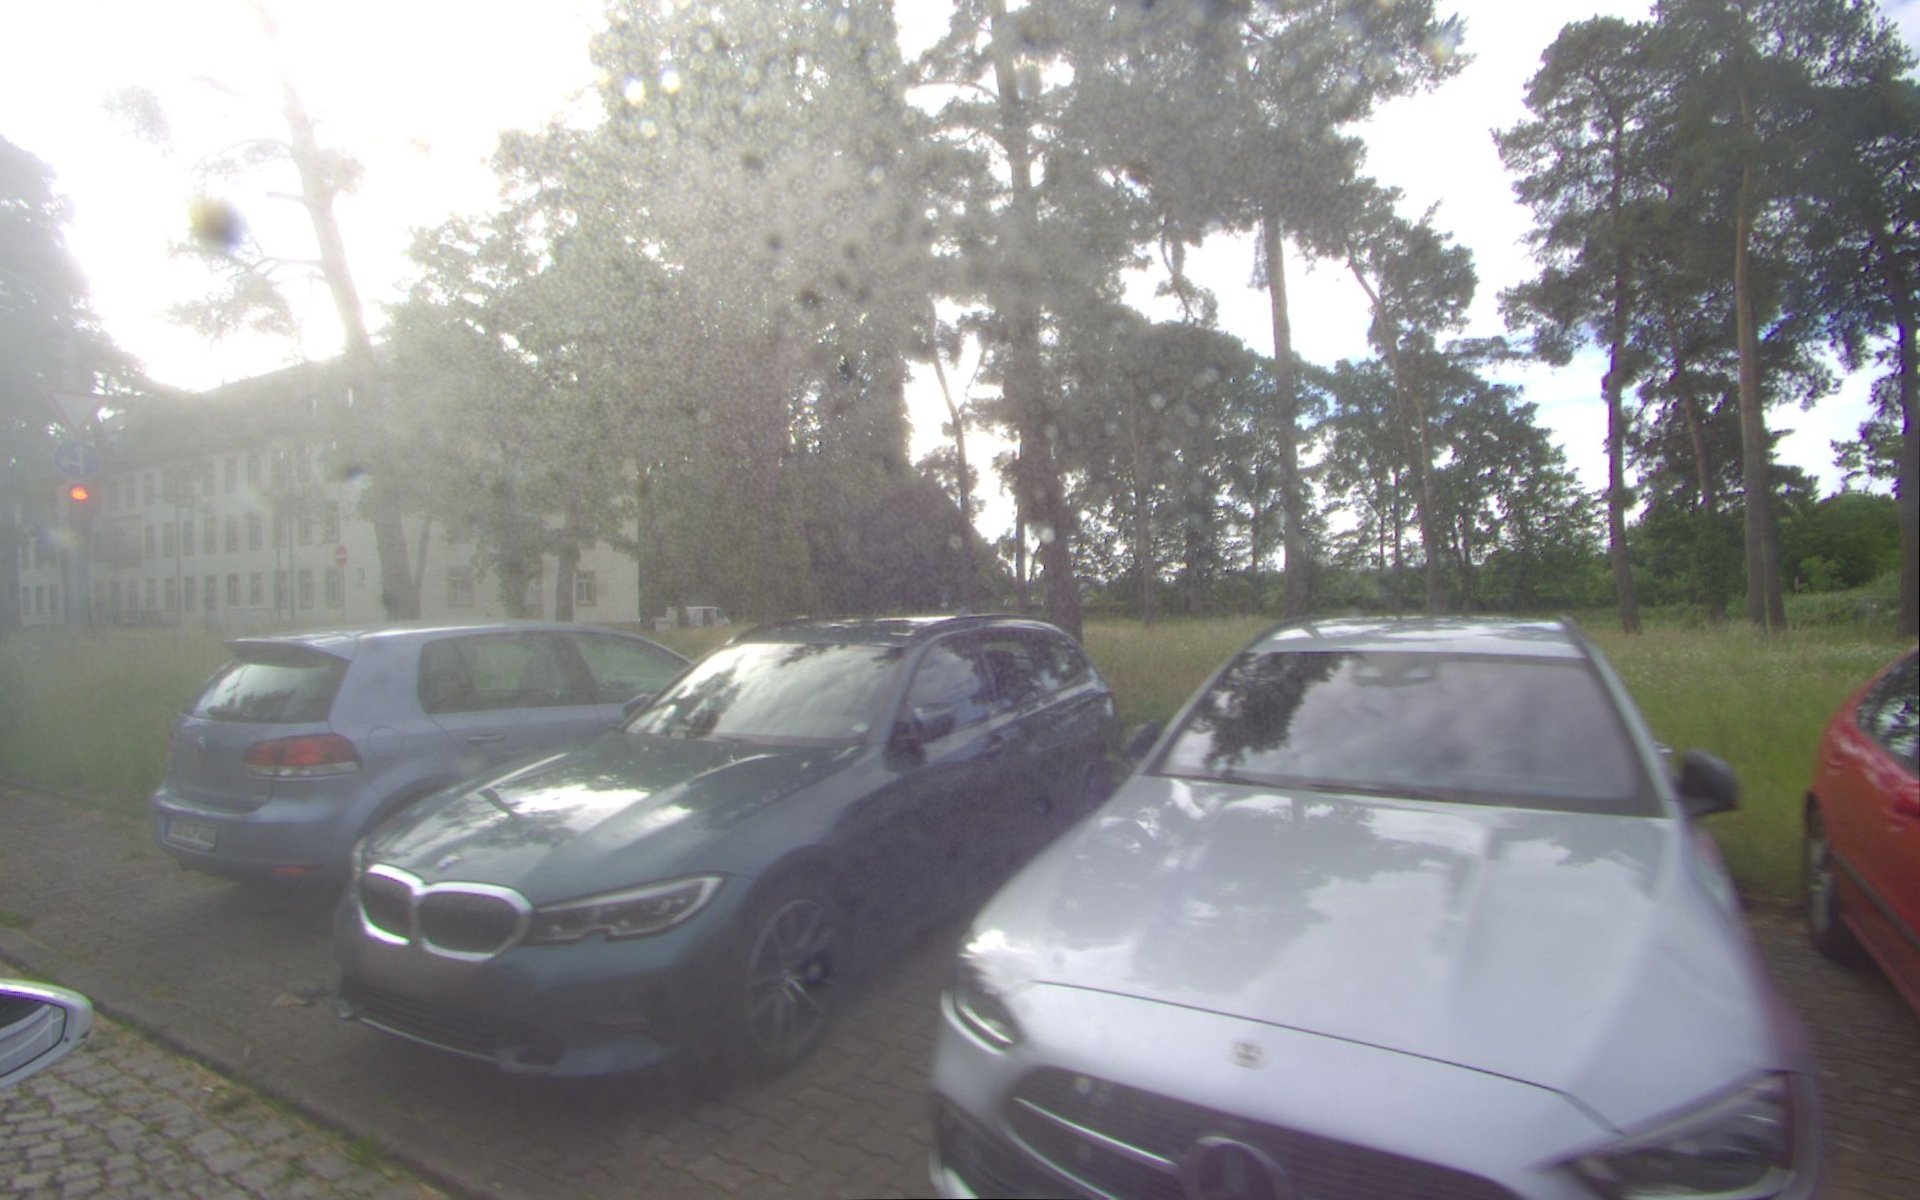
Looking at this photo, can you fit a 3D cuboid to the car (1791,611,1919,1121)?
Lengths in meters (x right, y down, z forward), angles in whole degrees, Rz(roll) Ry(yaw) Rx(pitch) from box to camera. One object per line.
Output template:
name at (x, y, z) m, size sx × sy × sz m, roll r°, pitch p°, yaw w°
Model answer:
car at (3.579, 0.776, 2.496) m, size 1.774 × 1.471 × 3.954 m, roll 0°, pitch 0°, yaw 32°

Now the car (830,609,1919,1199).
car at (1.722, 0.797, 3.701) m, size 1.786 × 1.502 × 4.748 m, roll 0°, pitch 0°, yaw 32°

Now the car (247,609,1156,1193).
car at (-0.563, 0.810, 5.117) m, size 1.734 × 1.502 × 4.752 m, roll 0°, pitch 0°, yaw 29°

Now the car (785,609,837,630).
car at (-10.918, 1.416, 73.317) m, size 1.972 × 1.527 × 3.474 m, roll -1°, pitch 0°, yaw 33°

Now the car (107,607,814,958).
car at (-2.752, 0.809, 6.374) m, size 1.582 × 1.446 × 3.756 m, roll 0°, pitch 1°, yaw 31°

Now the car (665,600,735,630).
car at (-20.308, 1.150, 78.352) m, size 2.182 × 2.318 × 5.169 m, roll 0°, pitch 0°, yaw 33°
